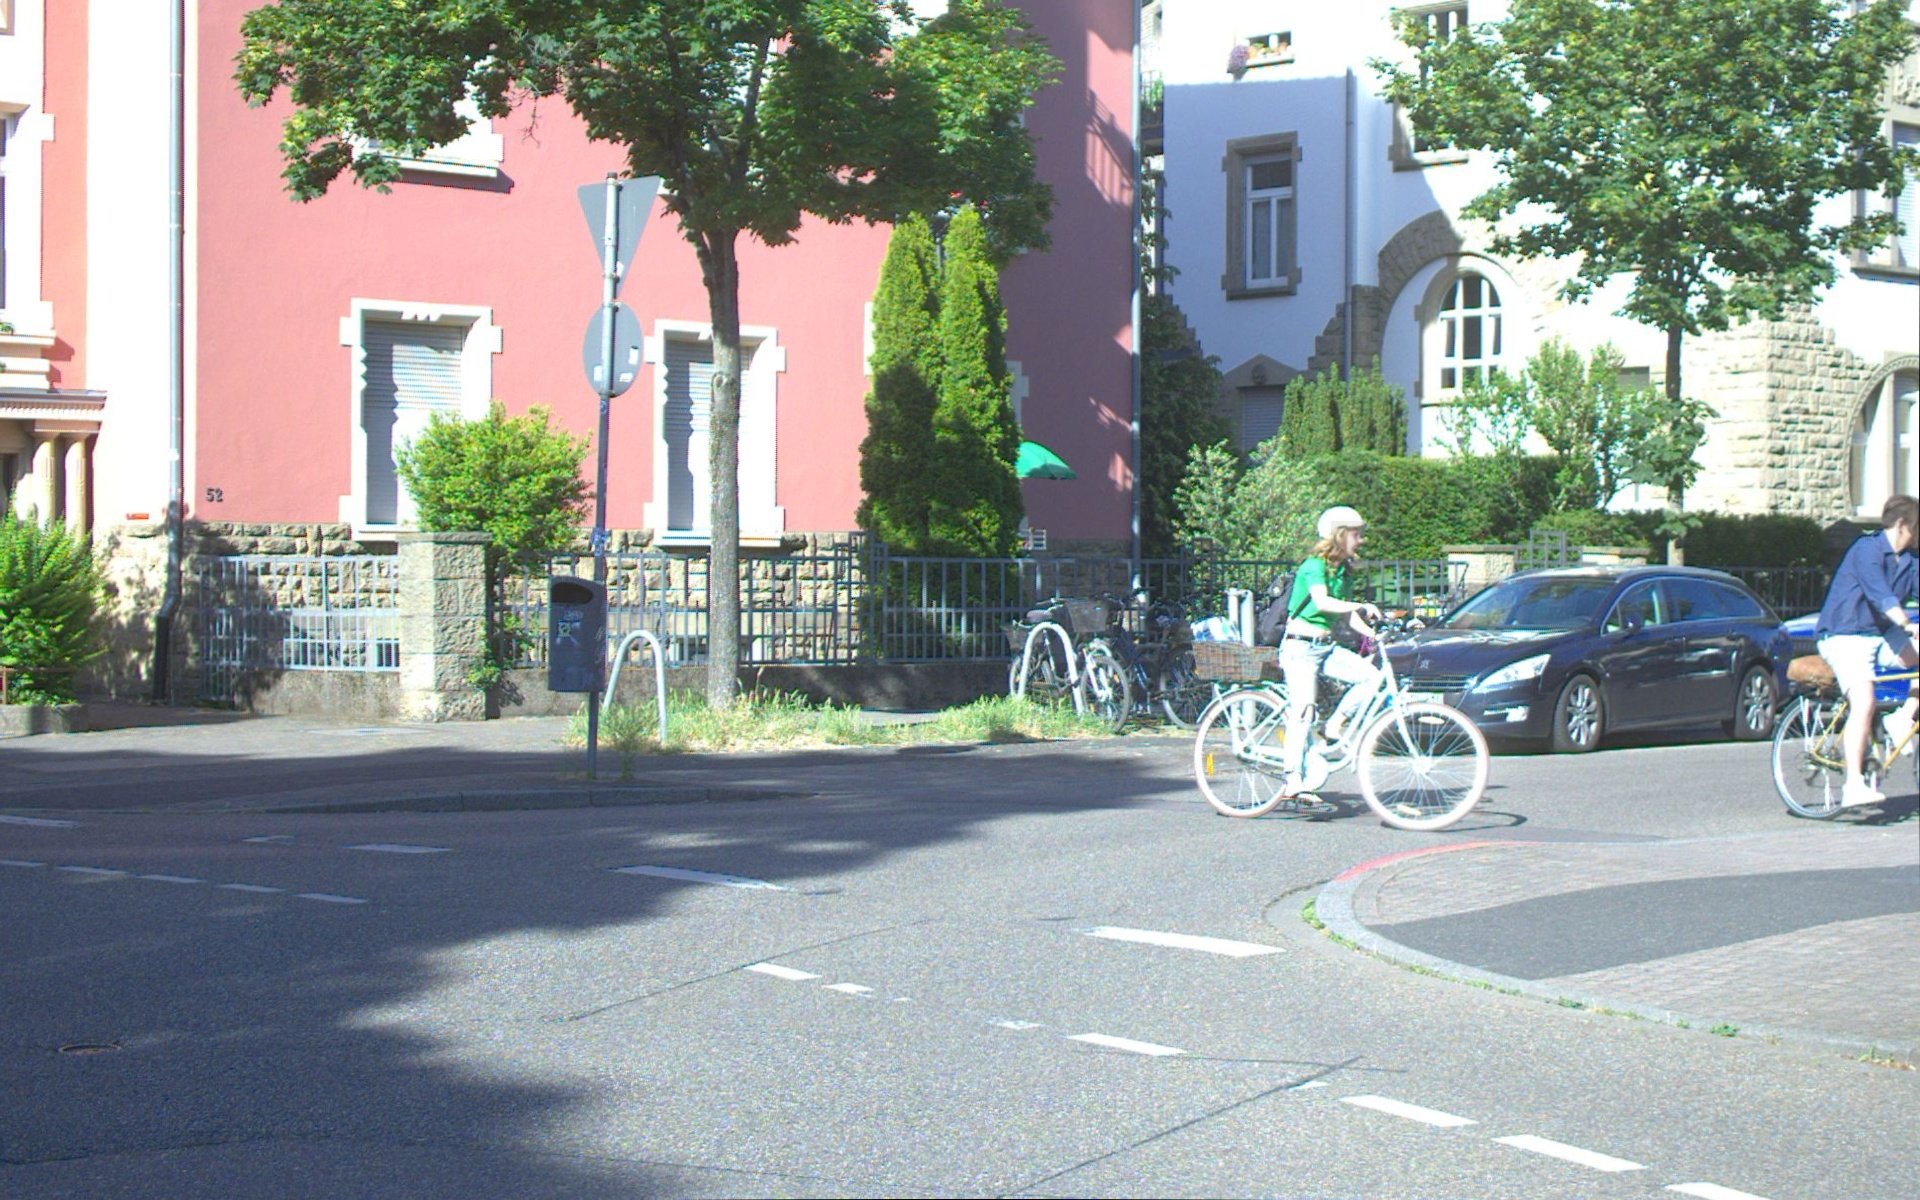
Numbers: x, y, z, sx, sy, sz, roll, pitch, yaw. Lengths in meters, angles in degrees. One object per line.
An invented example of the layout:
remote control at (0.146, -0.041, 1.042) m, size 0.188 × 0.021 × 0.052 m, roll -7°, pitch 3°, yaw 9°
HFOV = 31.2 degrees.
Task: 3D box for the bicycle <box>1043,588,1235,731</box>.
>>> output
bicycle at (1.503, 0.485, 29.186) m, size 0.544 × 1.111 × 1.726 m, roll 0°, pitch 2°, yaw -42°

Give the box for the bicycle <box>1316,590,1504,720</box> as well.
bicycle at (4.132, 0.492, 31.652) m, size 1.726 × 1.103 × 0.514 m, roll 3°, pitch 3°, yaw 45°

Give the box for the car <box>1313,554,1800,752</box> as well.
car at (4.921, 0.414, 27.959) m, size 1.808 × 1.478 × 4.328 m, roll -2°, pitch -1°, yaw 43°

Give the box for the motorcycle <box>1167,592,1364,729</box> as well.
motorcycle at (2.662, 0.515, 30.099) m, size 1.725 × 1.103 × 0.500 m, roll 3°, pitch 2°, yaw 41°

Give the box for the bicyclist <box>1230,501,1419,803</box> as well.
bicyclist at (1.953, 0.275, 18.439) m, size 0.804 × 1.576 × 0.594 m, roll -1°, pitch -1°, yaw 43°

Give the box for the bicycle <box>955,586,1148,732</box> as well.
bicycle at (0.743, 0.469, 28.544) m, size 0.544 × 1.111 × 1.726 m, roll 0°, pitch 2°, yaw -42°

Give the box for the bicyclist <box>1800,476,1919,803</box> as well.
bicyclist at (5.008, 0.207, 18.443) m, size 0.644 × 1.709 × 0.723 m, roll 0°, pitch -1°, yaw -36°

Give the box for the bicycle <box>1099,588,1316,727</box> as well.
bicycle at (2.128, 0.484, 29.666) m, size 1.827 × 1.103 × 0.500 m, roll 3°, pitch 2°, yaw 33°

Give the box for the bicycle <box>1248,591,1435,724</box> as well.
bicycle at (3.438, 0.509, 31.086) m, size 1.726 × 1.103 × 0.499 m, roll 3°, pitch 3°, yaw 45°

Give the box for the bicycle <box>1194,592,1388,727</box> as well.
bicycle at (2.934, 0.512, 30.619) m, size 1.725 × 1.103 × 0.500 m, roll 3°, pitch 2°, yaw 41°

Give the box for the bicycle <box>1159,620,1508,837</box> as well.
bicycle at (1.980, 0.666, 18.413) m, size 1.862 × 1.104 × 0.594 m, roll -1°, pitch -1°, yaw 43°

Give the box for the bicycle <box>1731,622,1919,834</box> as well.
bicycle at (5.009, 0.670, 18.438) m, size 0.644 × 1.104 × 1.716 m, roll 0°, pitch -1°, yaw -36°

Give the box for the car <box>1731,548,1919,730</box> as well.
car at (9.170, 0.346, 31.664) m, size 4.387 × 1.556 × 1.809 m, roll -1°, pitch -1°, yaw -43°
